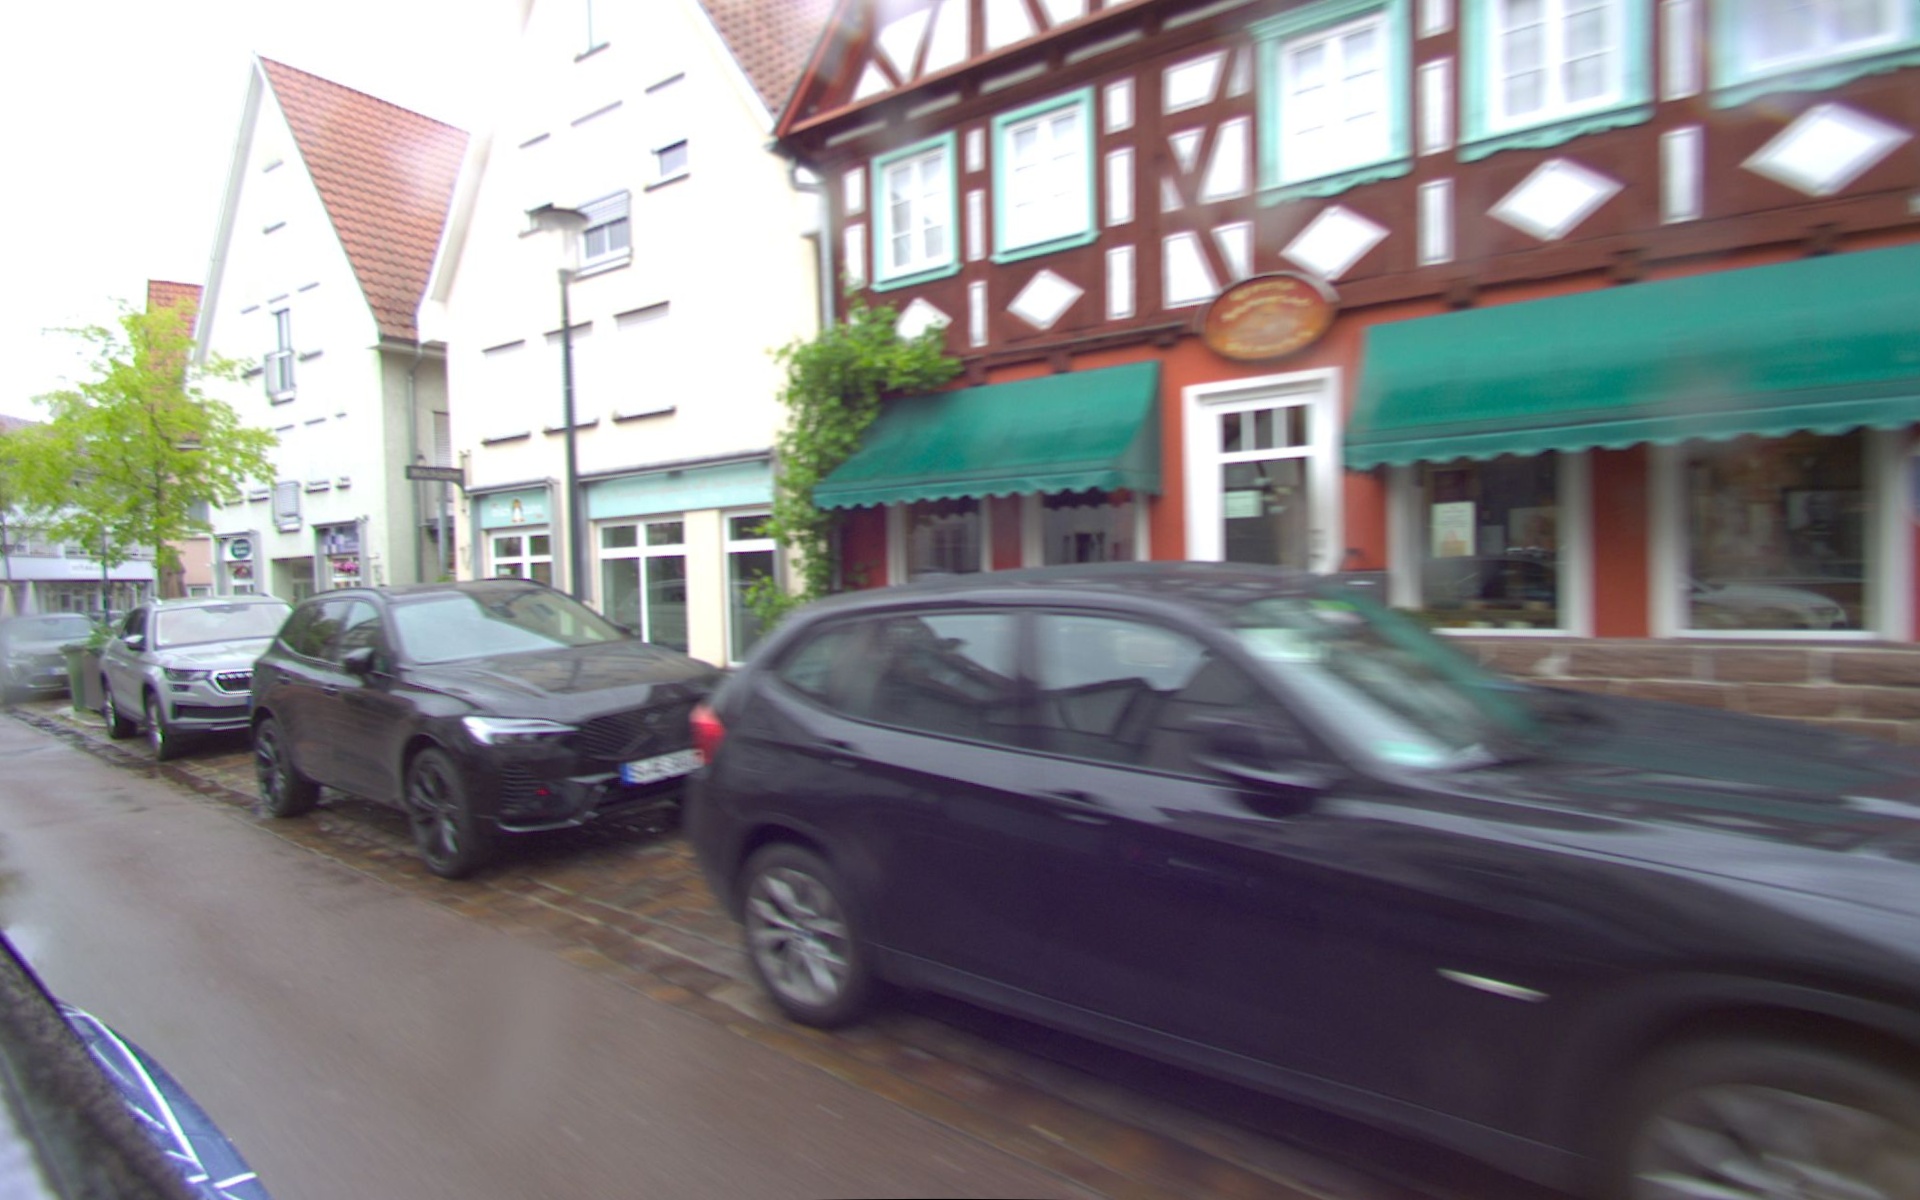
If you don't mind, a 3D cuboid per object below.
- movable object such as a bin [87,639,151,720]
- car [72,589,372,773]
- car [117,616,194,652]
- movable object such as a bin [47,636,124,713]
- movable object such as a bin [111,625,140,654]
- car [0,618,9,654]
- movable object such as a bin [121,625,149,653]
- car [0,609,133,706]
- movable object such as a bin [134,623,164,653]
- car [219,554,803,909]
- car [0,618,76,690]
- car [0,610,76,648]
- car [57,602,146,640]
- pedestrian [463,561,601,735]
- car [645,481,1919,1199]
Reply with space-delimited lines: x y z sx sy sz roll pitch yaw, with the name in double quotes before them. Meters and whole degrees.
"movable object such as a bin" -11.775 1.098 14.175 0.534 1.054 0.546 0 3 37
"car" -8.752 0.748 11.842 4.640 1.678 1.805 1 3 41
"car" -36.549 1.510 46.084 1.823 1.463 4.086 -3 0 -25
"movable object such as a bin" -13.536 1.135 15.671 0.743 1.091 0.739 0 3 38
"movable object such as a bin" -34.548 1.614 41.893 0.690 1.152 0.721 -2 0 -18
"car" -41.980 1.586 42.172 1.763 1.567 3.961 -1 1 -16
"movable object such as a bin" -34.742 1.640 42.618 0.672 1.144 0.721 -2 1 -17
"car" -17.468 1.027 19.408 4.328 1.535 1.842 -1 3 43
"movable object such as a bin" -33.769 1.578 42.133 0.690 1.130 0.721 -5 3 -18
"car" -3.346 0.618 7.045 4.638 1.678 1.806 0 2 40
"car" -21.764 1.213 22.801 4.611 1.453 1.845 -2 1 37
"car" -43.506 1.337 47.177 1.763 1.479 3.961 -2 3 -14
"car" -45.218 1.068 53.434 1.763 1.651 4.453 -2 3 -14
"pedestrian" -4.407 0.457 10.506 1.157 1.694 0.793 -2 2 -14
"car" 1.047 0.575 3.152 4.286 1.549 1.762 -2 2 40
